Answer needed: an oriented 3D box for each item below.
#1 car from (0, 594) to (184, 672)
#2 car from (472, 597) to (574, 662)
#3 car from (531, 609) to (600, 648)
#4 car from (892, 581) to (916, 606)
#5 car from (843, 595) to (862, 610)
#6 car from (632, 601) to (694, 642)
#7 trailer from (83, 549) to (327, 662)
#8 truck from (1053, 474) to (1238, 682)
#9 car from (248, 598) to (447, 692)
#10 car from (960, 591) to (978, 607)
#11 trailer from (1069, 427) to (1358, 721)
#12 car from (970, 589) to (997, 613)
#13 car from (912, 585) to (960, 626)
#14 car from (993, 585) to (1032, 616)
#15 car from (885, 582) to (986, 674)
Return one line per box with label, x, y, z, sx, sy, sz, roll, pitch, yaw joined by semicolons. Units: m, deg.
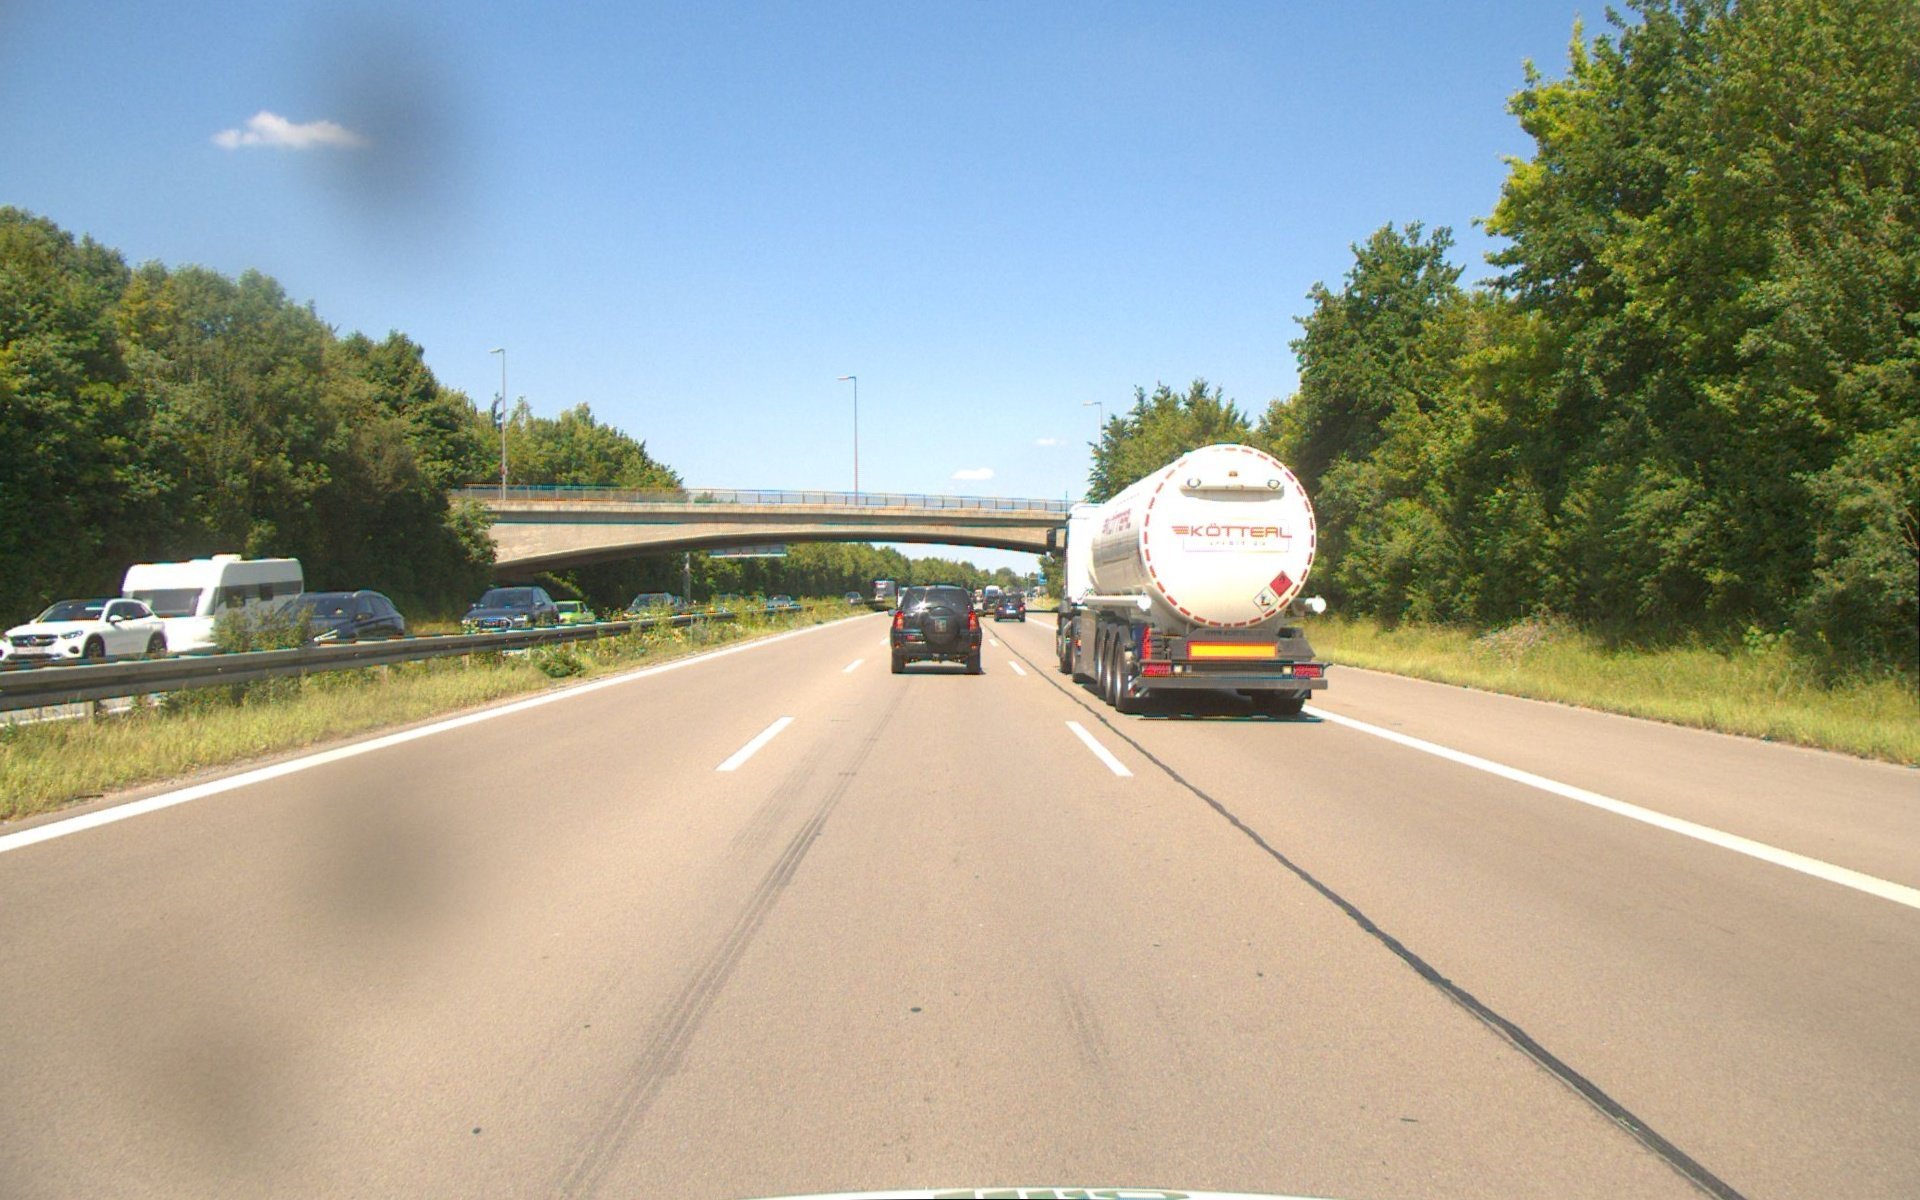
car;-19.747;0.702;37.773;1.809;1.634;4.809;0;0;-1
car;-12.132;0.779;46.190;1.834;1.722;3.999;0;0;-1
car;-16.096;1.138;67.702;1.708;1.452;4.803;0;0;0
car;-4.662;-0.512;139.072;1.953;2.049;4.948;-1;0;-2
car;-11.847;0.259;182.444;1.760;1.695;4.129;-1;0;1
car;-12.607;0.903;70.357;1.876;1.629;4.433;-1;0;-1
trailer;-19.996;0.116;44.514;2.676;2.734;8.629;0;0;-1
truck;3.270;-0.376;30.786;2.584;3.434;6.486;1;0;-1
car;-11.636;0.797;31.843;1.953;1.632;5.089;0;0;0
car;0.999;-0.099;185.521;1.953;1.780;4.204;0;0;-1
trailer;3.371;-0.318;25.143;2.594;3.449;11.150;1;0;0
car;1.623;0.084;113.715;1.804;1.640;4.000;0;-1;0
car;-1.124;0.254;74.377;1.954;1.736;4.333;-1;0;-3
car;2.961;0.029;94.589;1.953;1.713;3.998;0;-1;-2
car;-0.508;0.516;32.652;1.868;1.694;3.999;0;0;-2
